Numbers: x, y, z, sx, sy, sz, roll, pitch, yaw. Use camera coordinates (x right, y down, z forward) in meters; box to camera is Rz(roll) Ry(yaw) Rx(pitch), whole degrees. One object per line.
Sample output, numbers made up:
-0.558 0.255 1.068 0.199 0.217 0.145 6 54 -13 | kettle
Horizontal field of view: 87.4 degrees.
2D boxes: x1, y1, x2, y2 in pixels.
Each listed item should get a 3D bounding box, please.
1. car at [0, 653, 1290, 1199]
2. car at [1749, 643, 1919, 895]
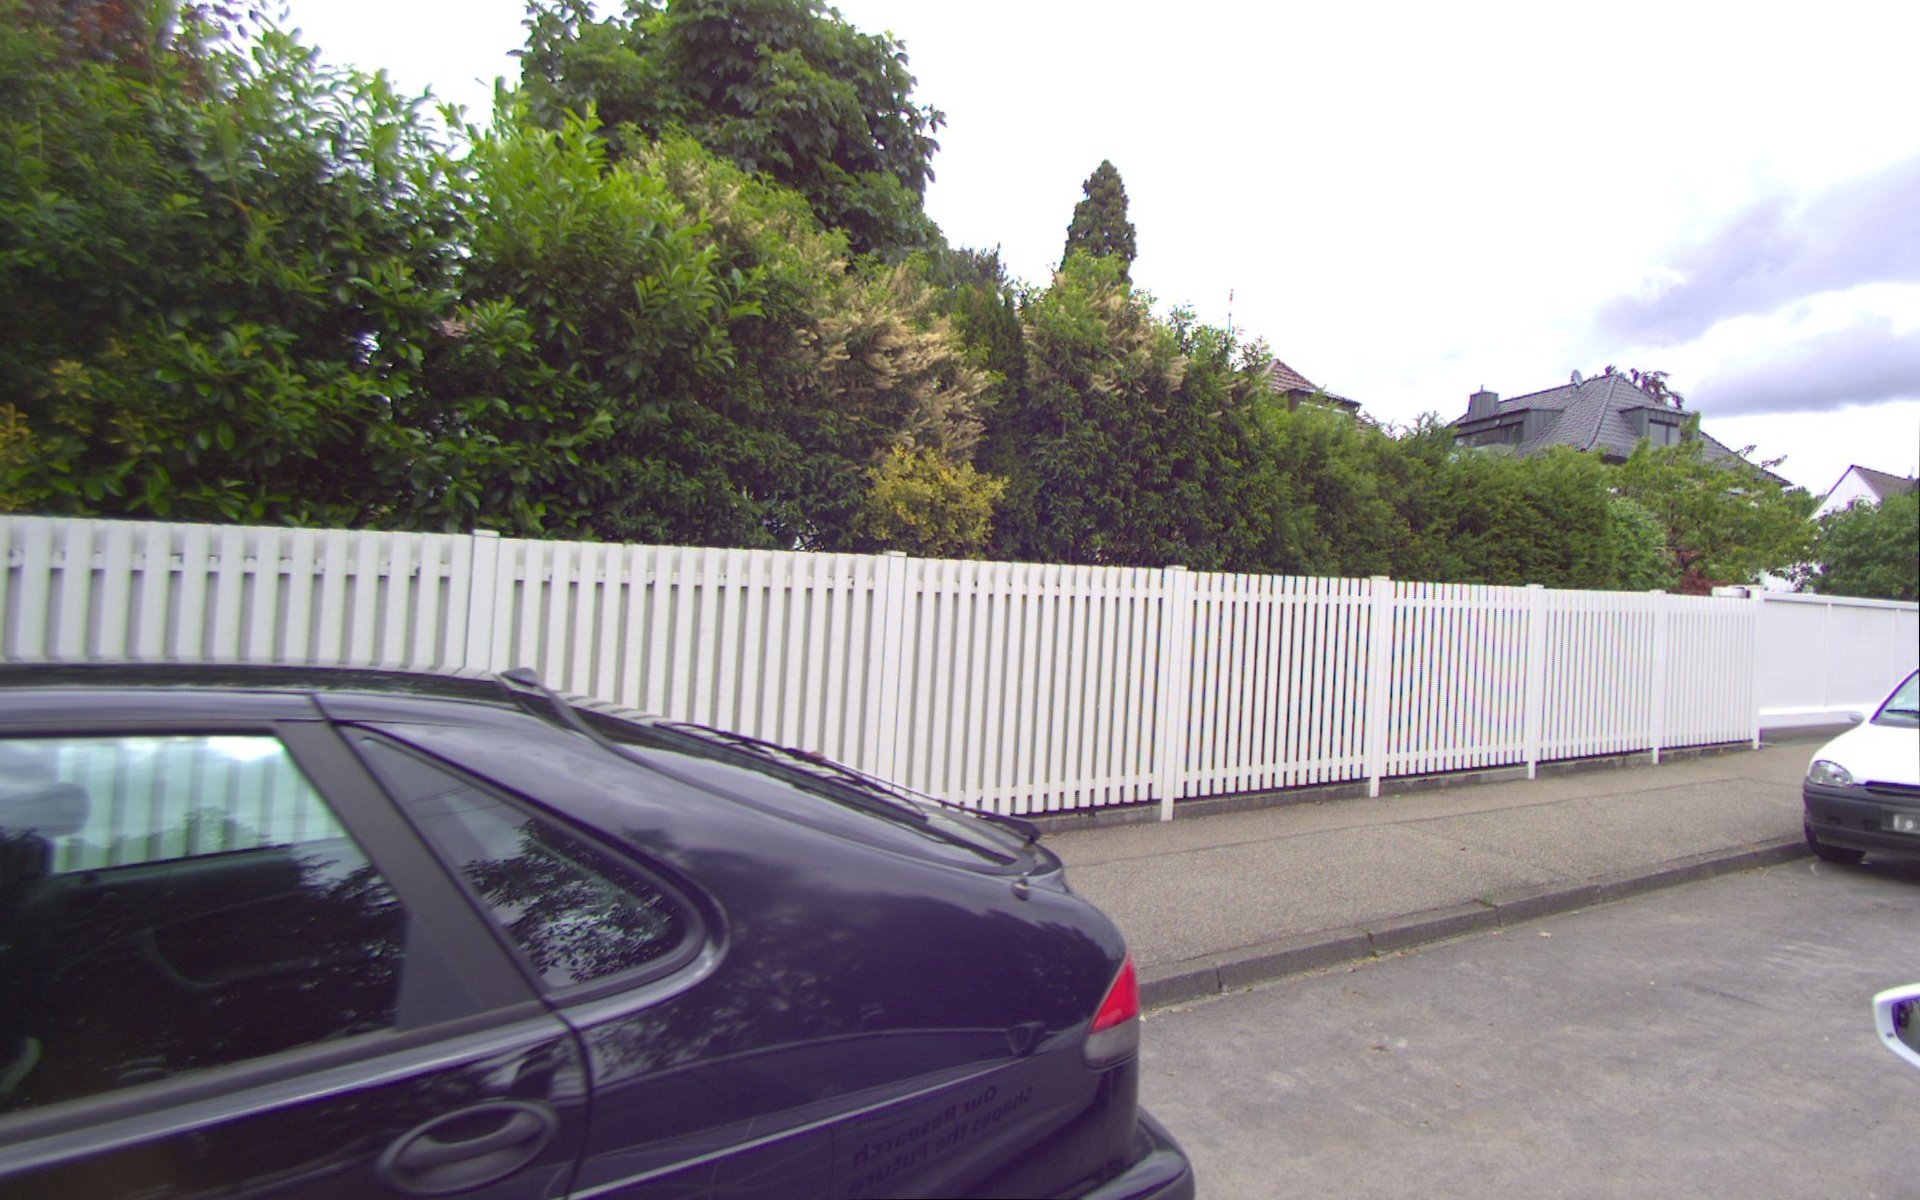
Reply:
-1.833 0.793 1.249 4.492 1.440 1.635 1 -3 -28 | car
7.257 1.023 6.818 3.951 1.452 1.589 1 -2 -29 | car
